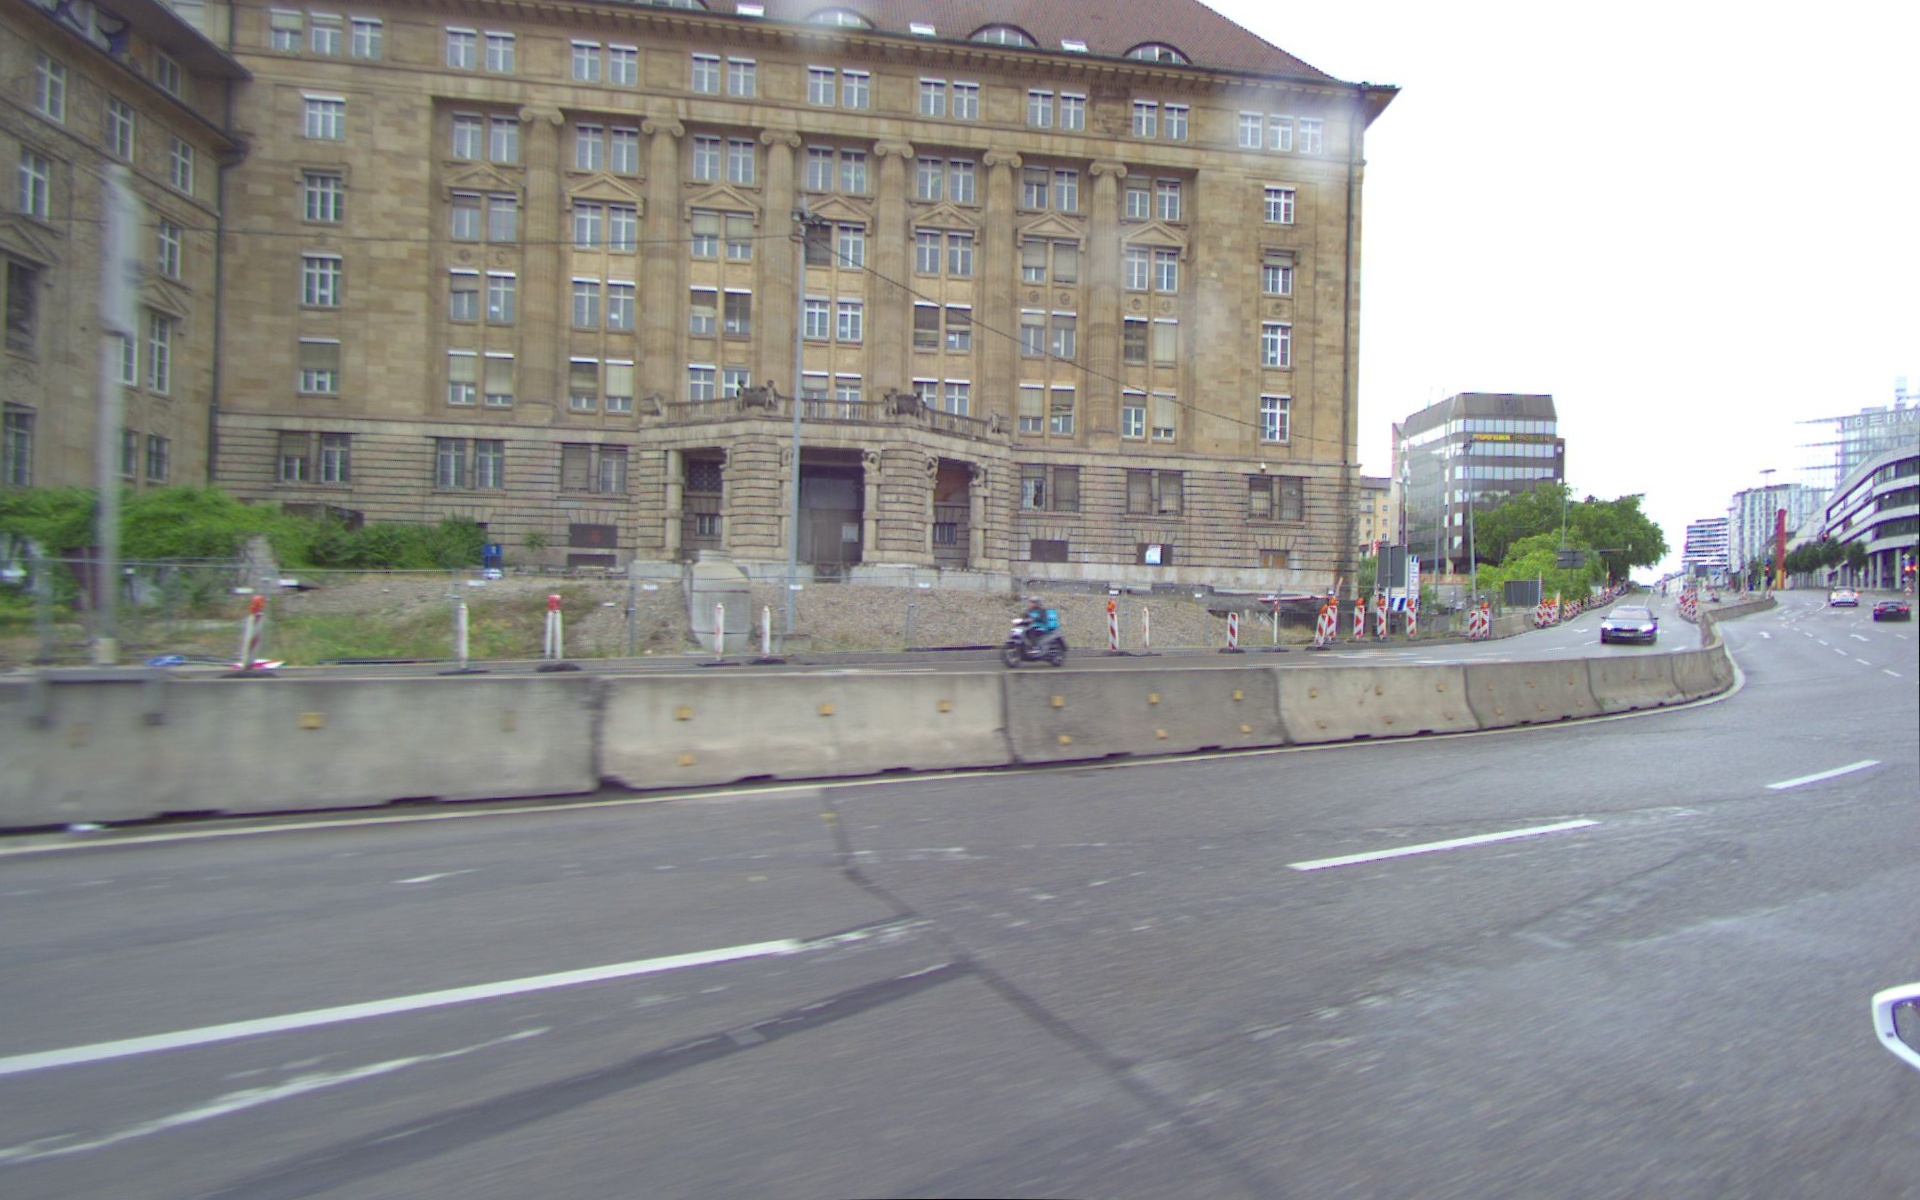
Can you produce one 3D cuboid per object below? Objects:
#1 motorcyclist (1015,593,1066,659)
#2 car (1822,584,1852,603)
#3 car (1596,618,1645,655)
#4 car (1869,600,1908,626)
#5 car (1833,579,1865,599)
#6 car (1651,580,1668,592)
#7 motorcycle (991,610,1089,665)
[{"bbox_3d":[1.830,0.584,22.894,0.817,1.470,0.793,1,1,-34],"label":"motorcyclist"},{"bbox_3d":[76.246,-0.535,87.368,1.719,1.526,3.739,1,0,37],"label":"car"},{"bbox_3d":[27.132,1.522,41.224,1.580,1.370,3.744,2,-2,34],"label":"car"},{"bbox_3d":[62.022,0.858,67.091,3.720,1.528,1.658,4,-2,-43],"label":"car"},{"bbox_3d":[83.898,-0.995,94.793,4.237,1.828,1.974,0,0,-44],"label":"car"},{"bbox_3d":[88.825,-1.783,127.539,1.582,1.370,3.739,2,-2,38],"label":"car"},{"bbox_3d":[1.833,0.838,22.905,2.132,1.164,0.863,1,1,-34],"label":"motorcycle"}]
